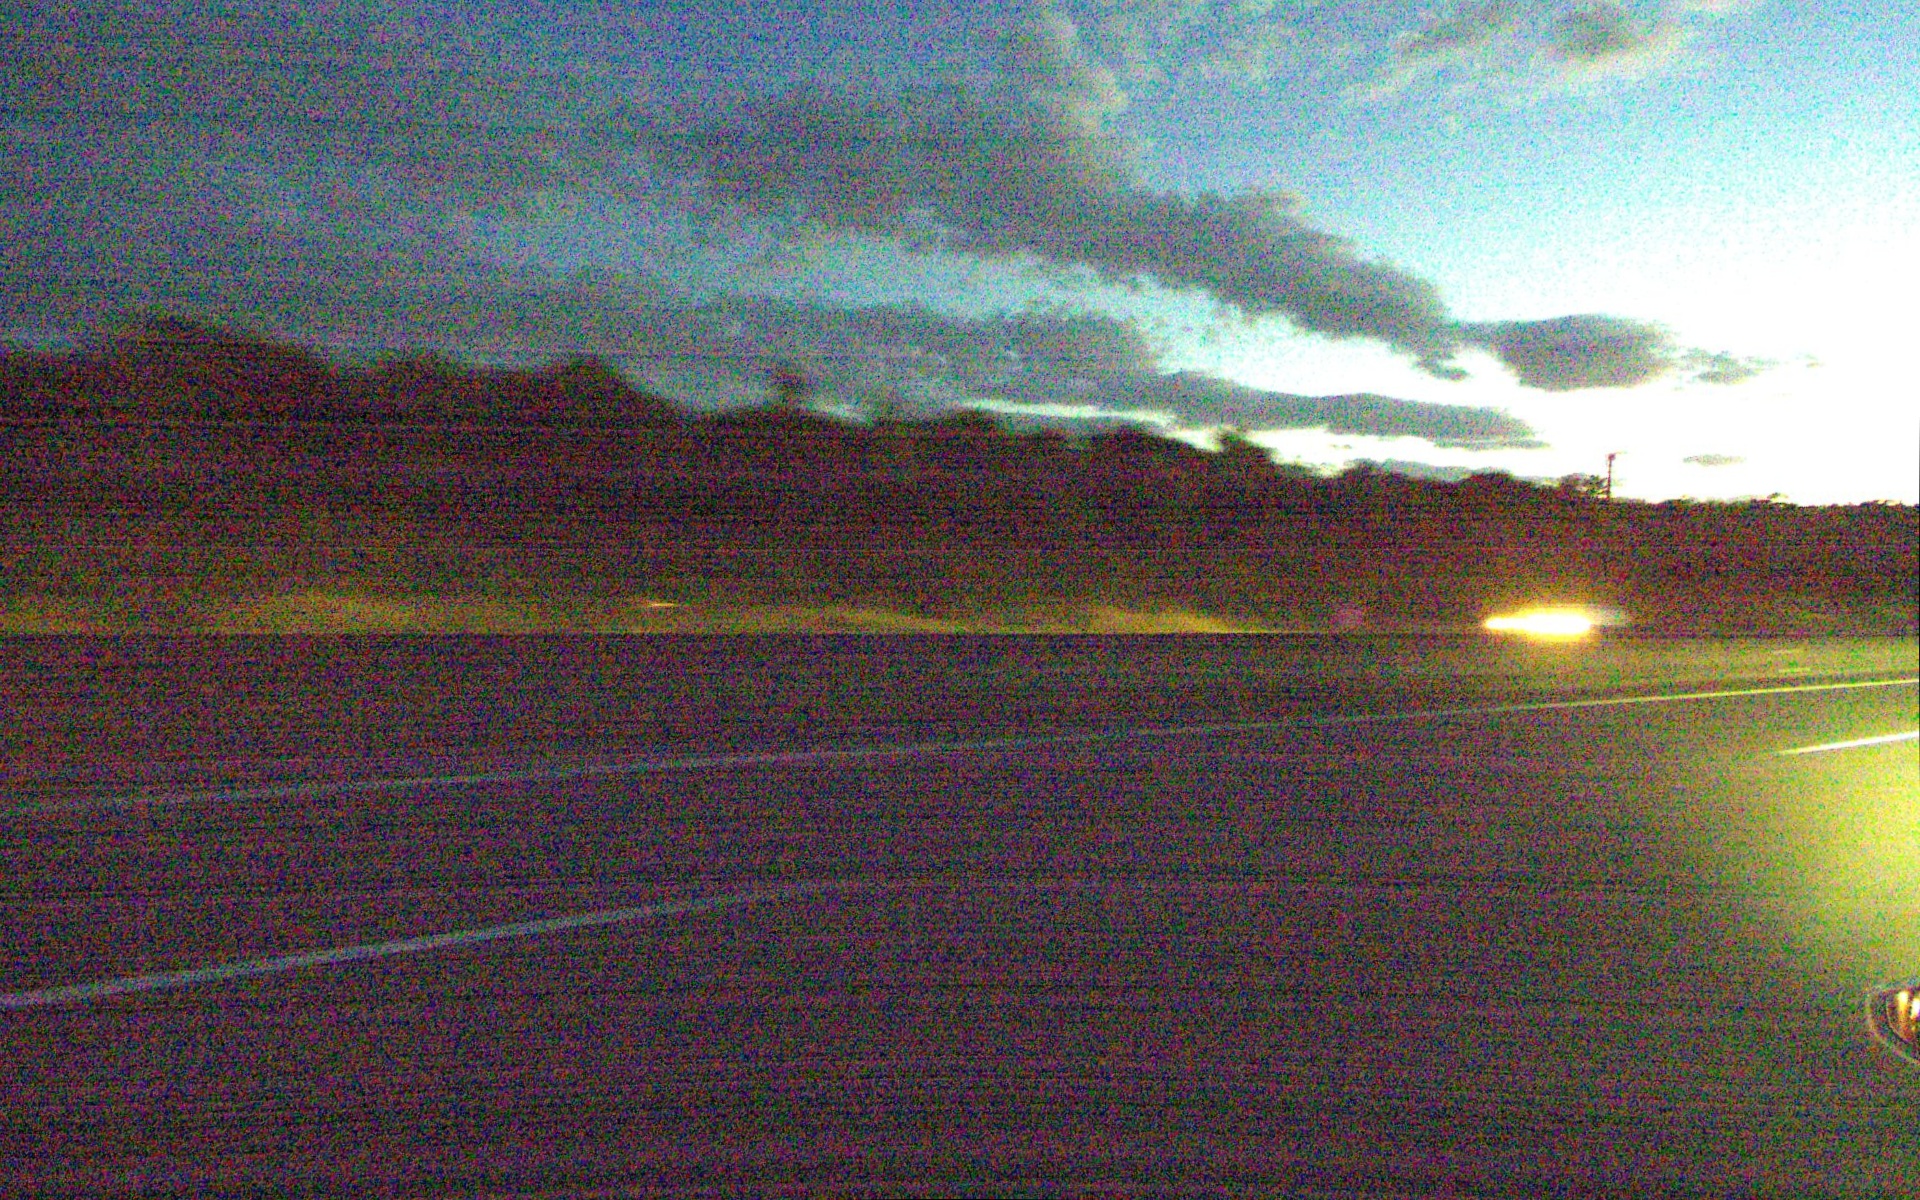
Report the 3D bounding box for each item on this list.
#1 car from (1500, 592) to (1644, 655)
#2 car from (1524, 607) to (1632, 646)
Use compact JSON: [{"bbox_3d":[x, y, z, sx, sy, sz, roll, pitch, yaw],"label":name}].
[{"bbox_3d":[20.321,0.780,33.300,4.603,1.910,2.095,2,0,-30],"label":"car"},{"bbox_3d":[25.462,1.097,41.339,4.603,1.448,1.766,2,0,-30],"label":"car"}]
